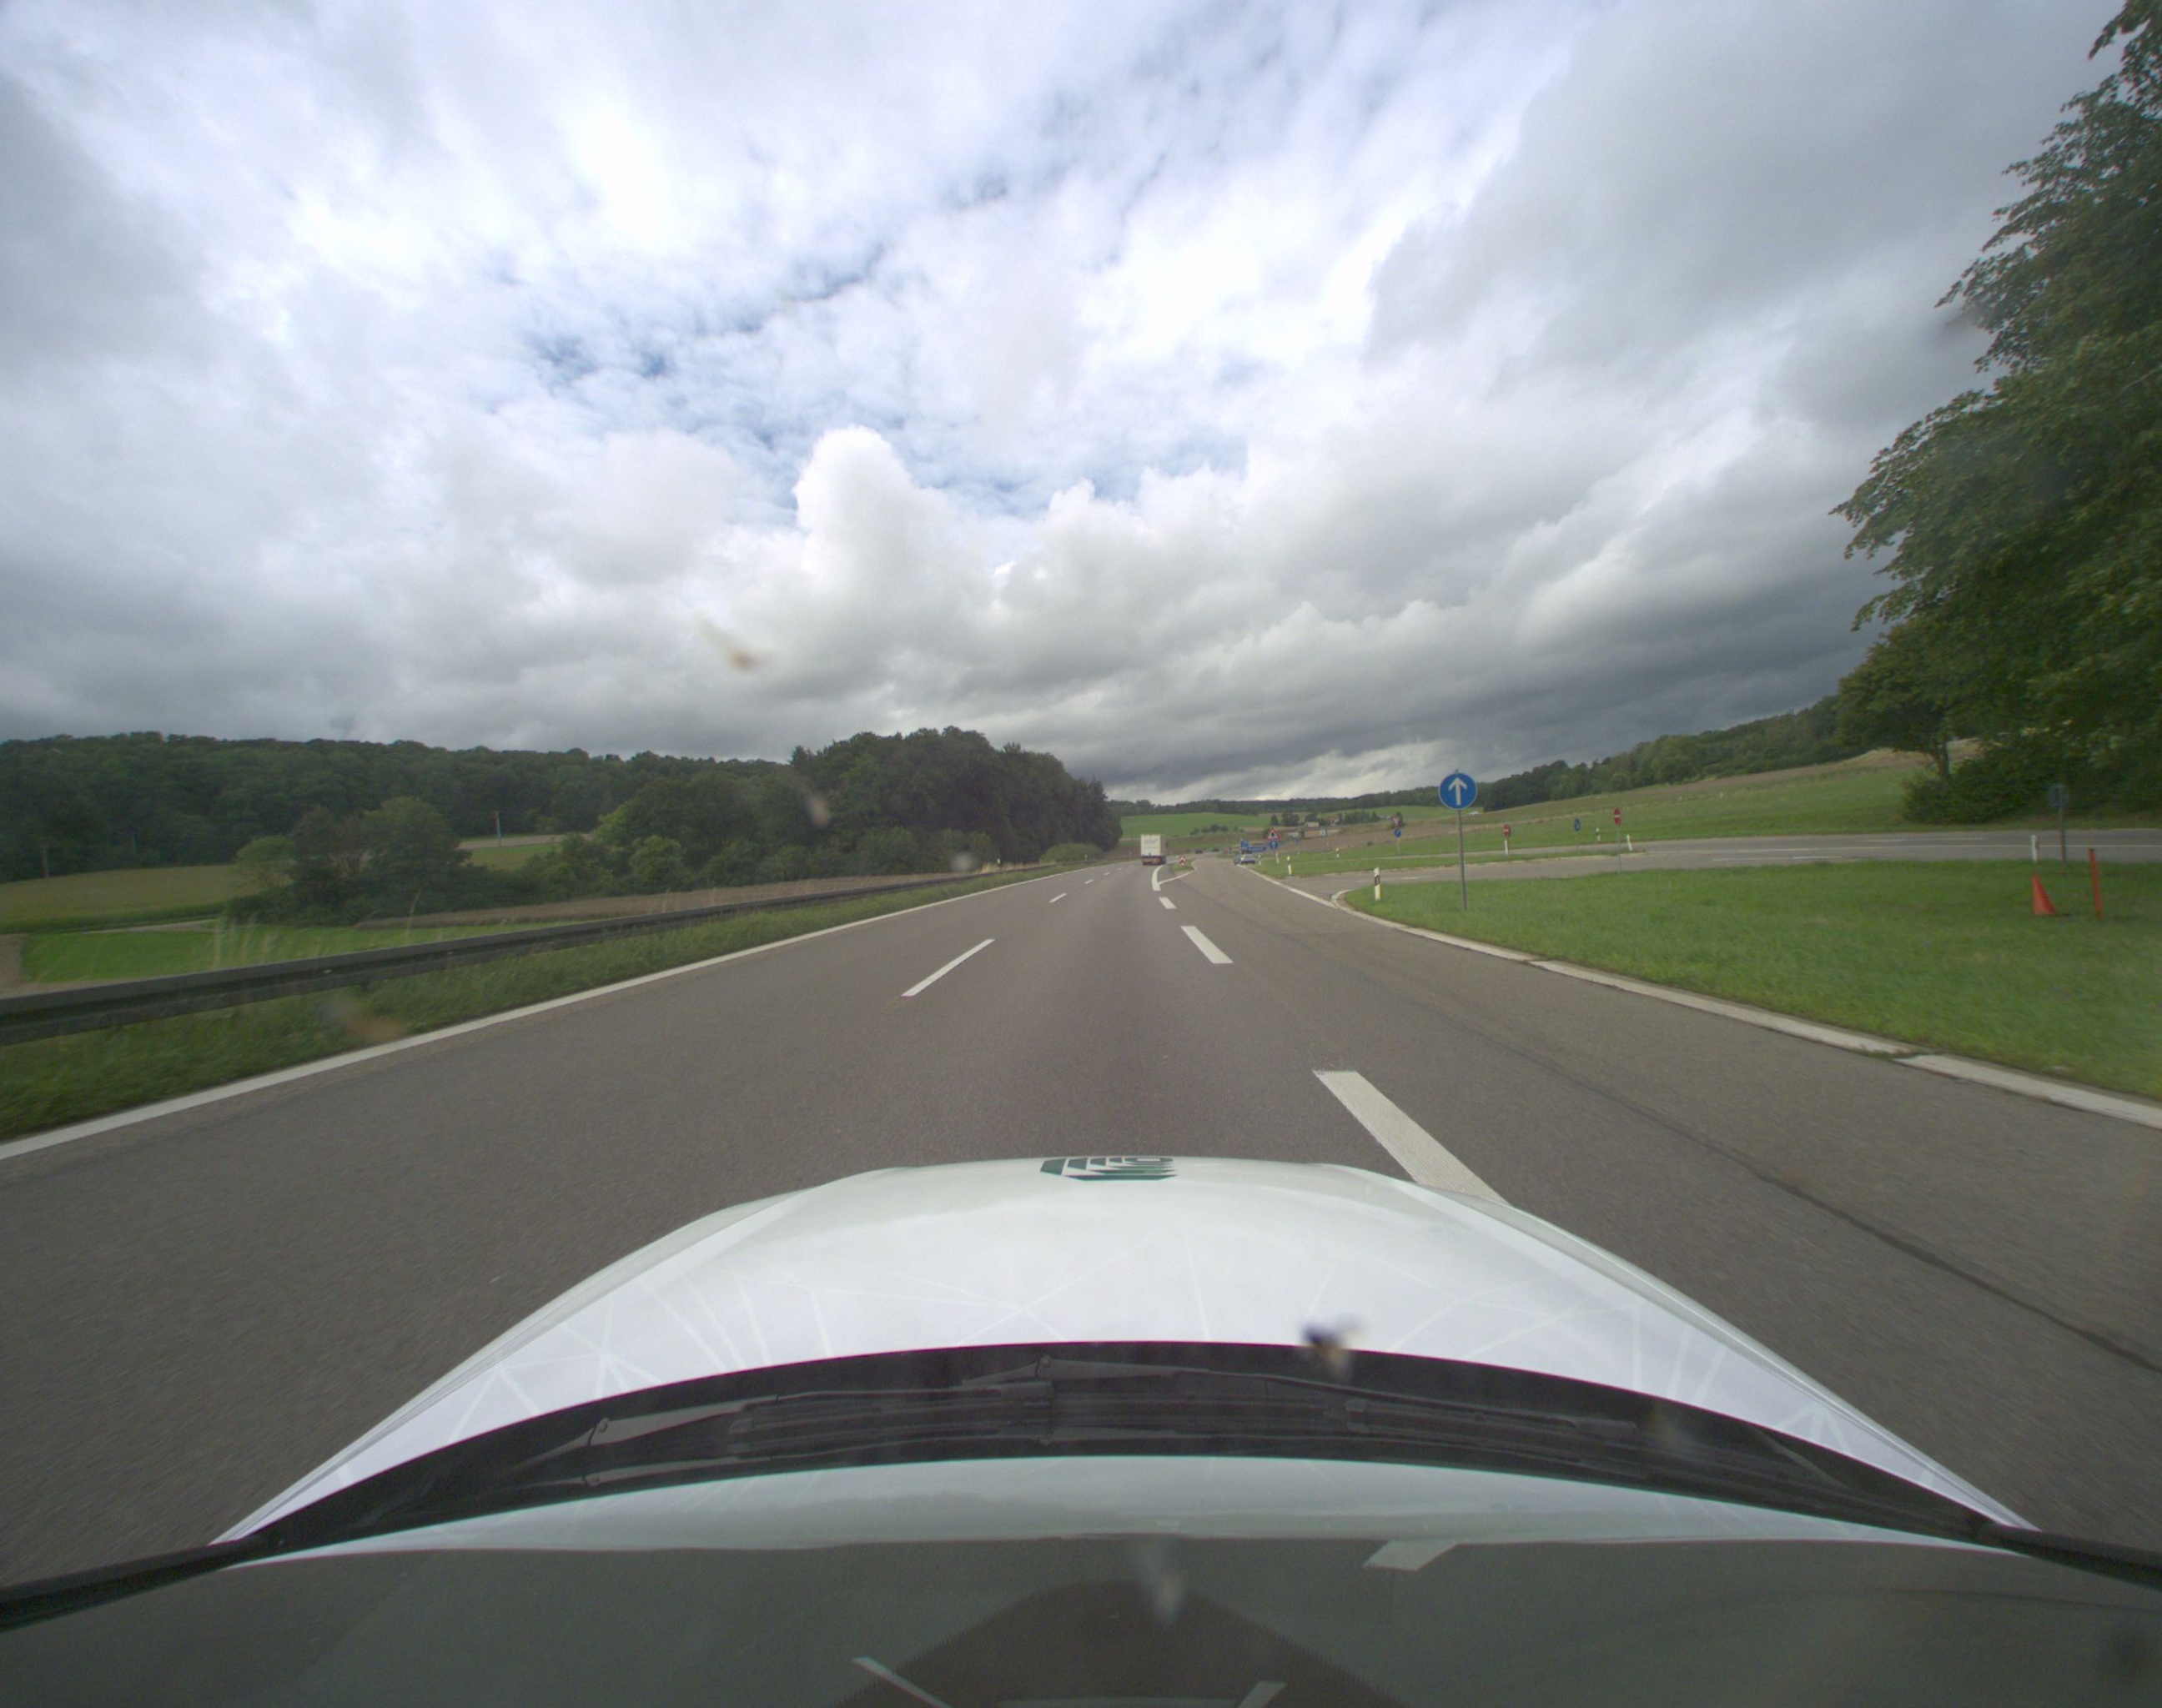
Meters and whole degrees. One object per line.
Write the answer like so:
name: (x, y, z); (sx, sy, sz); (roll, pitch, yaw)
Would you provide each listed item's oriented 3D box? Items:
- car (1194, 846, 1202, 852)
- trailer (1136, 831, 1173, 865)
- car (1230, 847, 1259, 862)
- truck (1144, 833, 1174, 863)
car: (35.937, -1.461, 250.380); (1.890, 1.795, 4.014); (-2, -2, 13)
trailer: (10.054, -0.798, 109.212); (3.783, 4.174, 14.847); (-1, 0, 9)
car: (17.692, 0.079, 88.142); (1.777, 1.552, 3.987); (-3, 0, -9)
truck: (11.154, -0.861, 115.851); (3.765, 4.131, 8.286); (0, 0, 9)
